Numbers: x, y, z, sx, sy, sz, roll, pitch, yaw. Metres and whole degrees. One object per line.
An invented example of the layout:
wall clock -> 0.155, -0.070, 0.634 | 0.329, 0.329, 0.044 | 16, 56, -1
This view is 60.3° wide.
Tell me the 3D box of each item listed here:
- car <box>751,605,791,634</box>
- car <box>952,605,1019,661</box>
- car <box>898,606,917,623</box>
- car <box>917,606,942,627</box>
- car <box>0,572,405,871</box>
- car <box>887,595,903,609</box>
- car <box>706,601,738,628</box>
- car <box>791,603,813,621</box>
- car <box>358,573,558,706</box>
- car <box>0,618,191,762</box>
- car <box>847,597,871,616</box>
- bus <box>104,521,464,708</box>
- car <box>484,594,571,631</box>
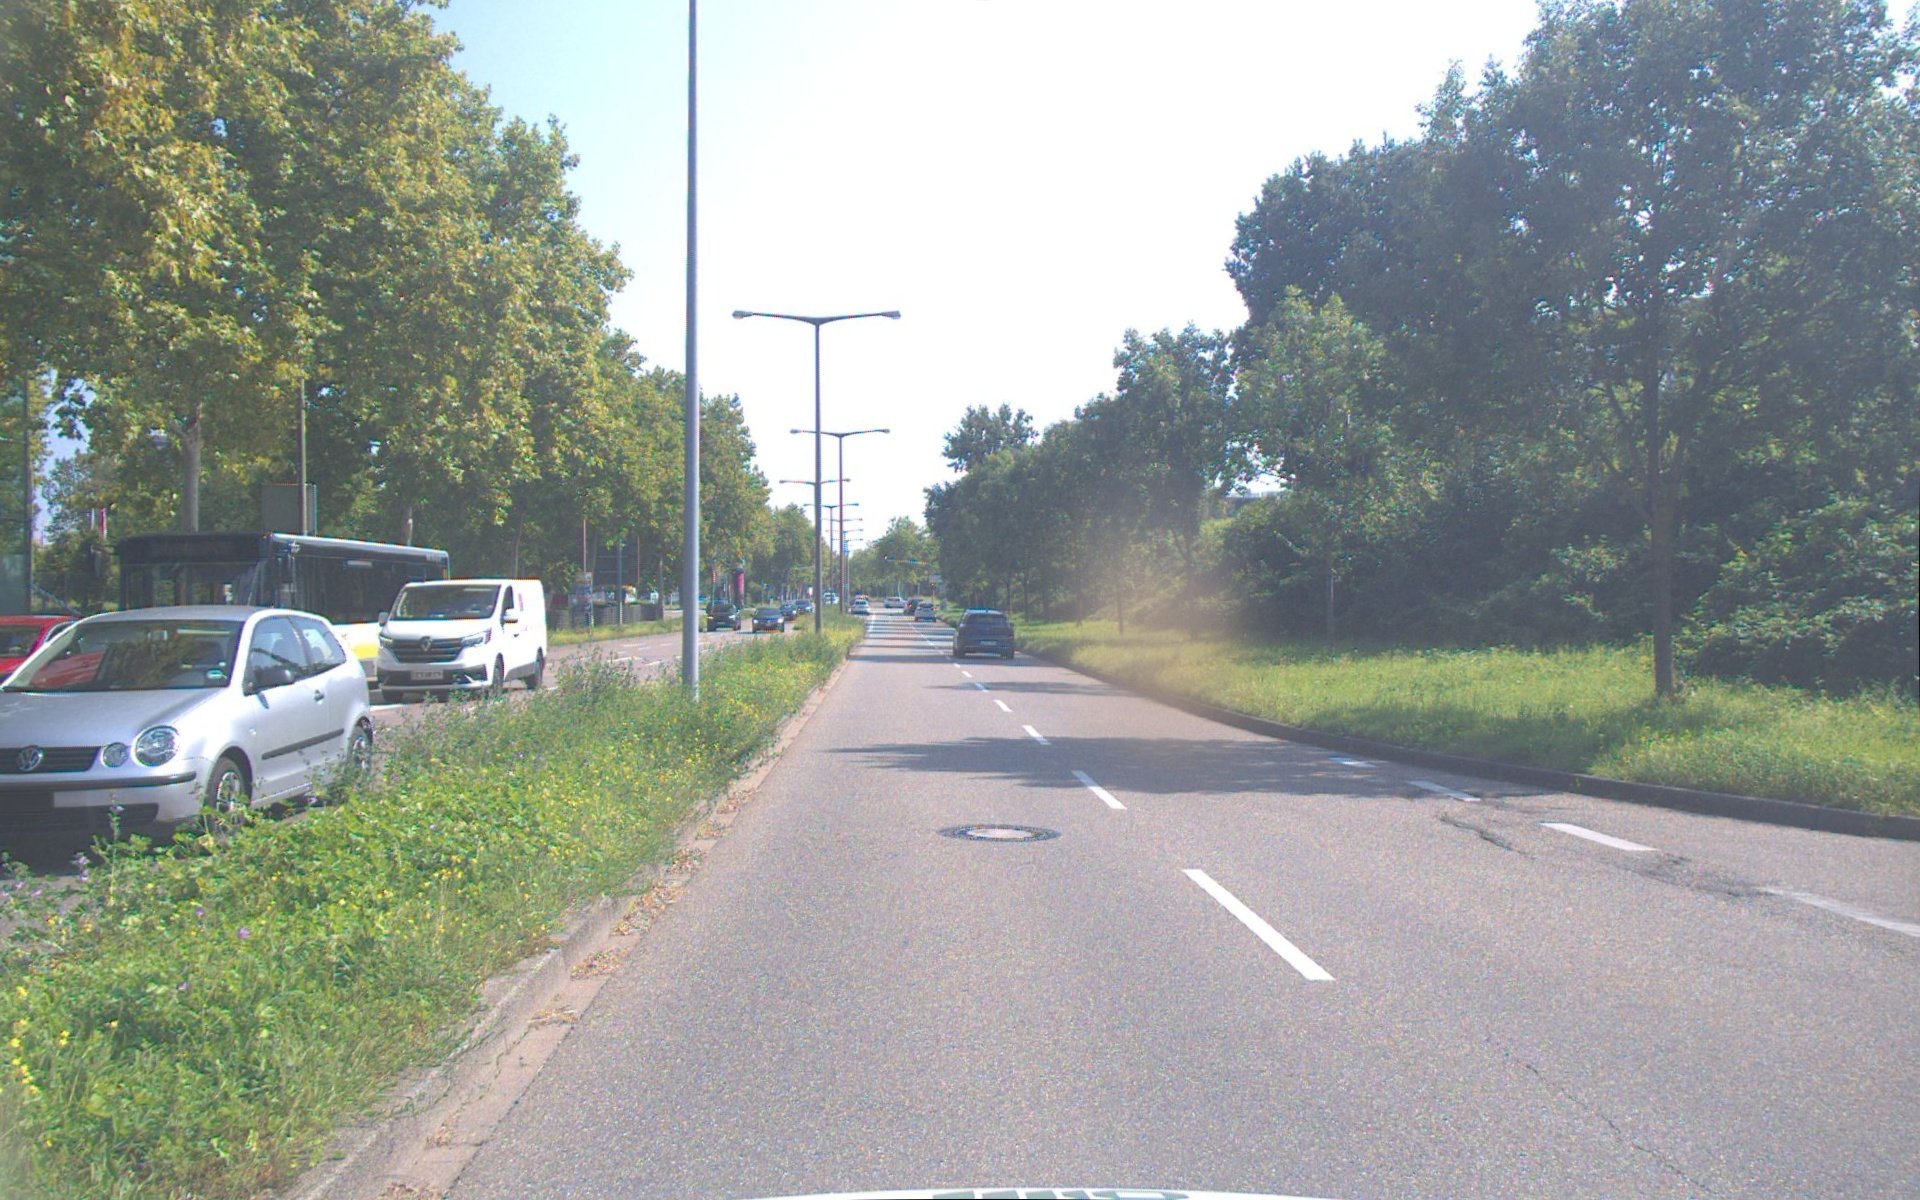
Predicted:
car -> -10.546, 1.076, 92.623 | 1.808, 1.516, 4.641 | -2, 0, -2
car -> 0.743, 0.970, 50.741 | 1.745, 1.452, 3.999 | 1, 2, -3
car -> -5.779, 1.567, 182.473 | 1.954, 1.683, 3.997 | 2, 1, -4
car -> -2.576, 1.393, 139.780 | 1.954, 1.683, 3.997 | -1, -1, -3
car -> -5.070, 0.689, 10.897 | 1.582, 1.562, 4.098 | -2, -1, -3
car -> -8.474, 0.226, 214.495 | 1.954, 1.683, 3.997 | 2, 1, -4
car -> -15.023, 0.943, 104.606 | 1.810, 1.633, 4.603 | 0, -2, -6
car -> -14.801, 1.139, 155.363 | 1.954, 1.613, 4.342 | 0, -1, -5
car -> -8.383, 0.581, 28.146 | 1.888, 1.994, 5.188 | -2, 1, -2
car -> -11.251, 1.028, 19.903 | 1.744, 1.537, 5.209 | -2, -1, -3
car -> -9.772, 0.658, 160.592 | 1.952, 1.732, 4.000 | -1, -1, 1
bus -> -11.855, 0.281, 30.464 | 2.609, 2.741, 10.898 | -2, -1, -3
car -> -30.154, 0.851, 115.433 | 5.474, 2.377, 2.277 | 1, 2, -5
